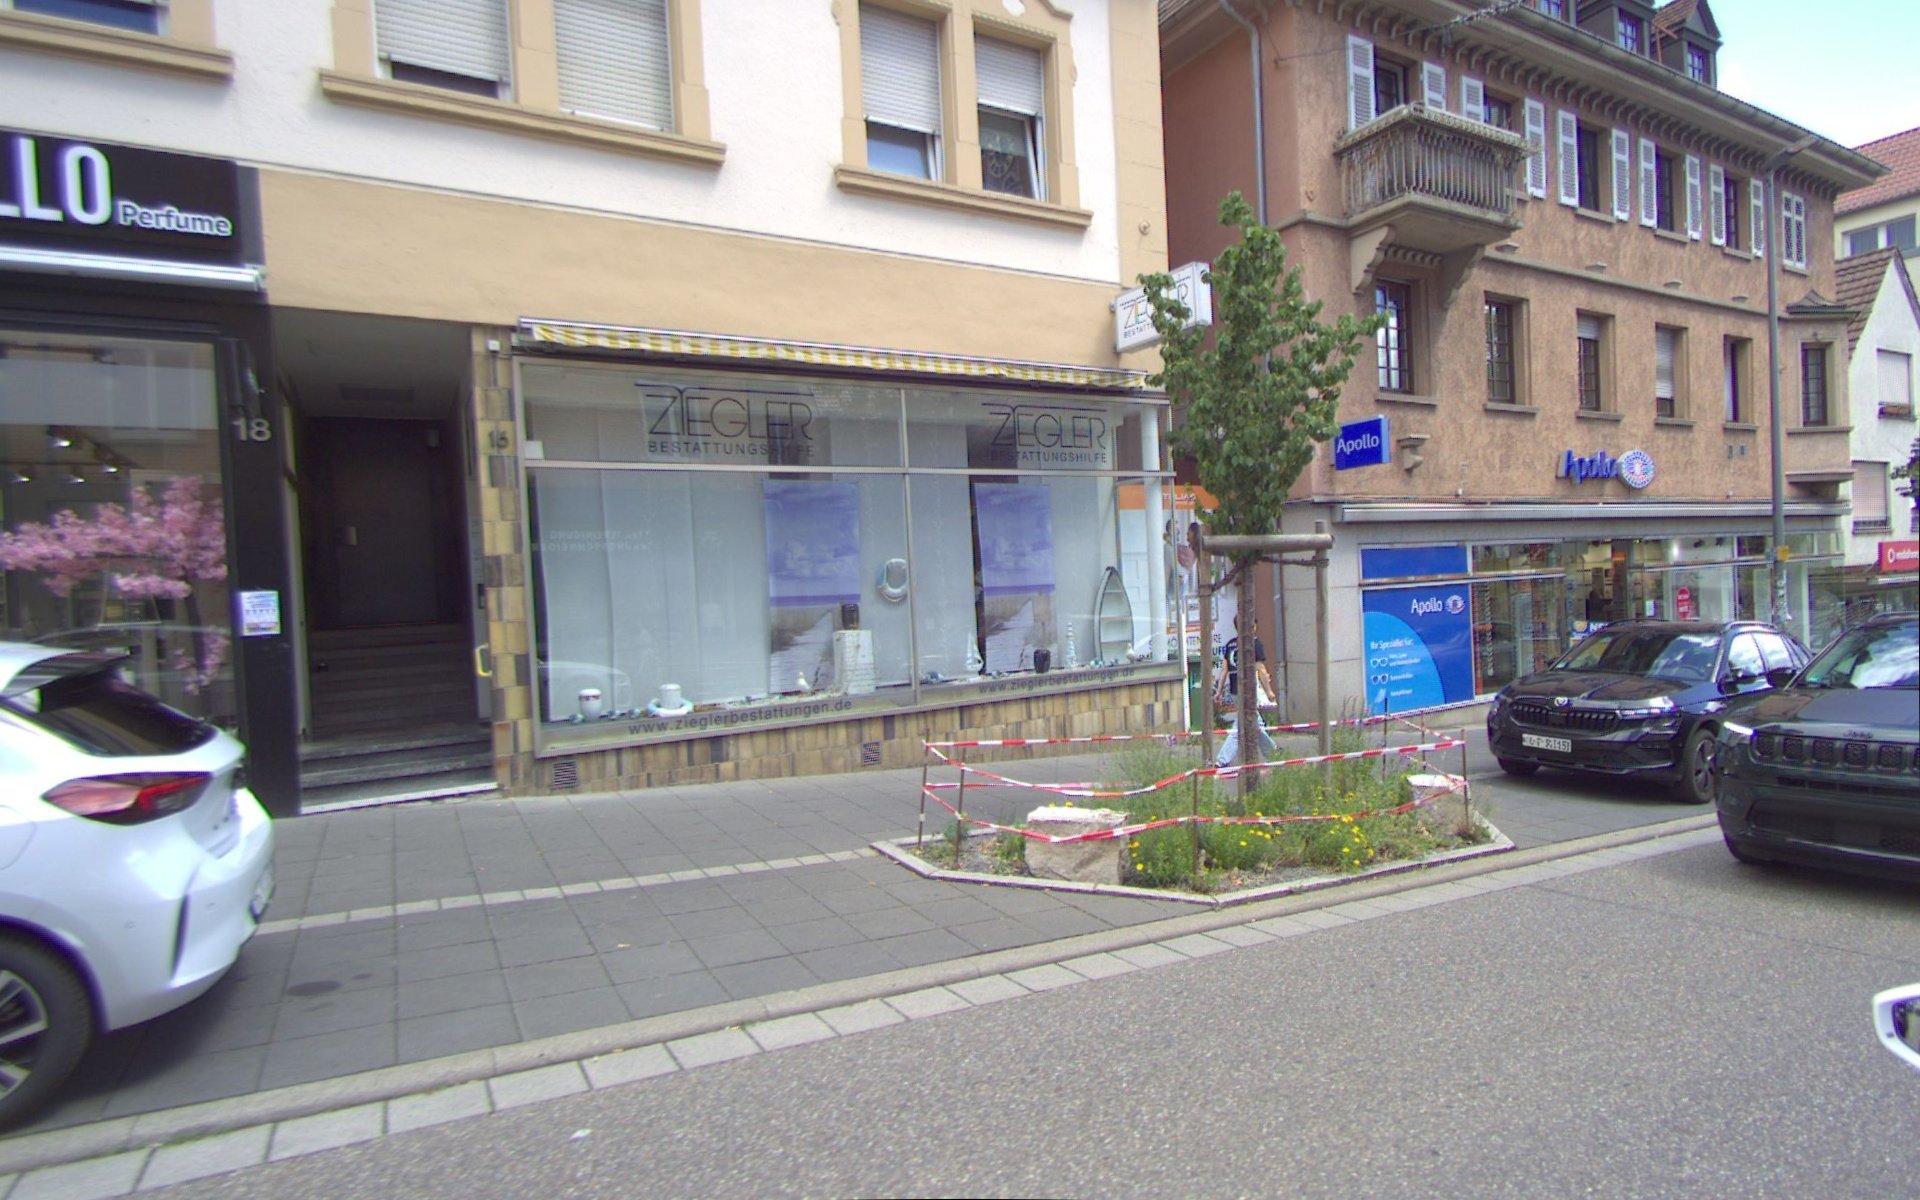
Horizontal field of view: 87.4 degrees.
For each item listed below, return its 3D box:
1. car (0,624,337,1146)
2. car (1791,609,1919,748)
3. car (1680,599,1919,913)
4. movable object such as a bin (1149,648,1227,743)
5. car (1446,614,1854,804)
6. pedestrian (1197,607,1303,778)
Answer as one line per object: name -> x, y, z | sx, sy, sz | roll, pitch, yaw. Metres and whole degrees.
car -> -4.424, 0.824, 3.026 | 4.210, 1.449, 1.918 | 1, 0, -29
car -> 13.305, 0.969, 13.617 | 4.410, 1.617, 1.915 | 0, 2, -33
car -> 6.613, 0.857, 6.494 | 3.986, 1.638, 1.756 | 1, -2, -31
movable object such as a bin -> 2.743, 1.133, 12.120 | 0.541, 1.099, 0.737 | 1, -3, -31
car -> 6.979, 0.911, 10.062 | 4.216, 1.516, 1.916 | 0, -1, -33
pedestrian -> 2.837, 0.870, 9.833 | 0.853, 1.596, 0.545 | 0, -1, -31
